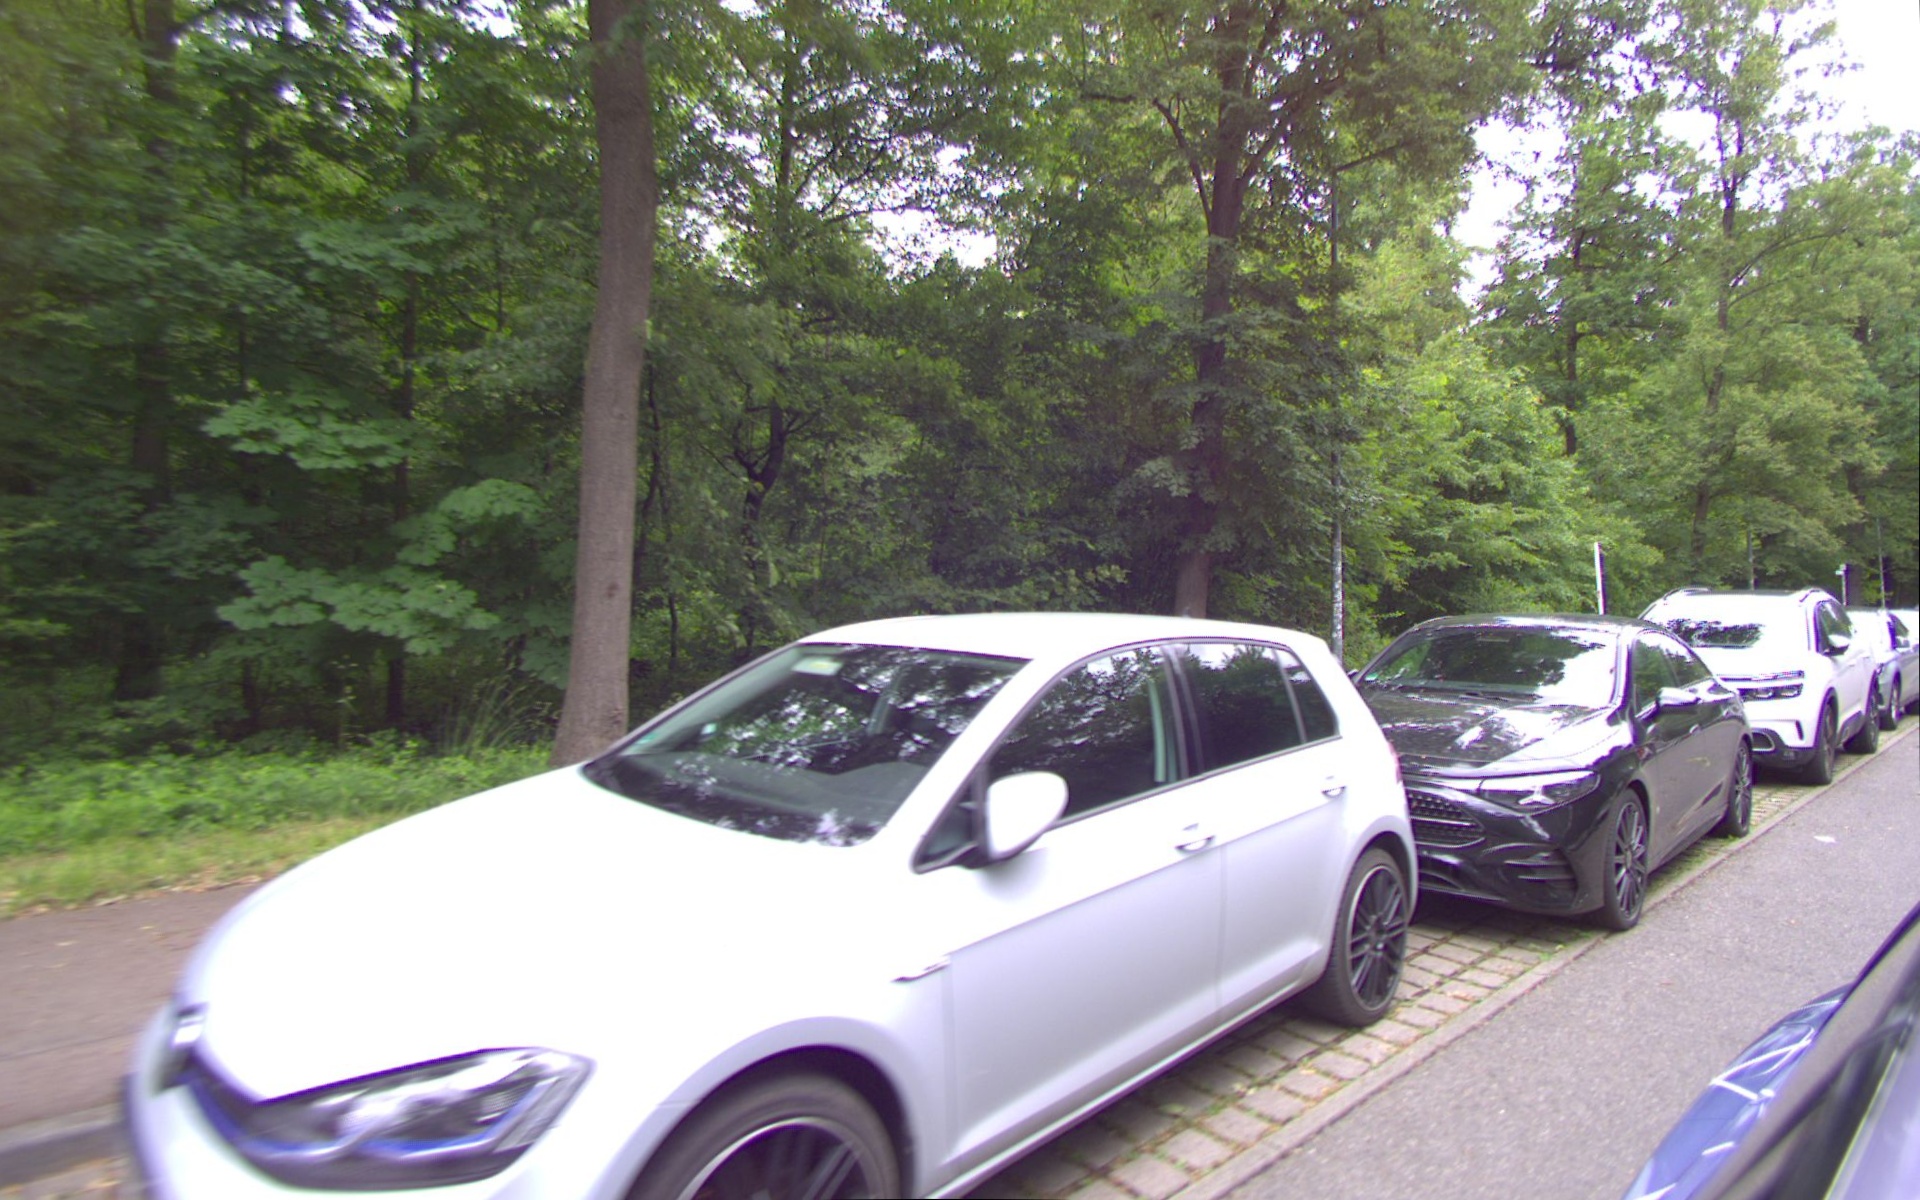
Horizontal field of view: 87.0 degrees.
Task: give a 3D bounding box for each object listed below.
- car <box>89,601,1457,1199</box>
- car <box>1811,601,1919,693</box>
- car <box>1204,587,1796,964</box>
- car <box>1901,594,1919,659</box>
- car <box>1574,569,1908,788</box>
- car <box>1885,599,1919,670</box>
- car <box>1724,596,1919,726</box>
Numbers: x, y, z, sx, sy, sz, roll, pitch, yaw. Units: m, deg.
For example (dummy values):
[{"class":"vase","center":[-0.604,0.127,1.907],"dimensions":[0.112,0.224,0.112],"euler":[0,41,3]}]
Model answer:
[{"class":"car","center":[-0.056,0.731,3.266],"dimensions":[4.086,1.443,1.737],"euler":[0,0,-45]},{"class":"car","center":[16.315,0.738,17.618],"dimensions":[4.352,1.425,1.738],"euler":[0,0,-42]},{"class":"car","center":[3.543,0.695,6.175],"dimensions":[4.525,1.493,1.739],"euler":[0,0,-42]},{"class":"car","center":[25.372,0.633,25.690],"dimensions":[4.348,1.580,1.841],"euler":[0,0,-42]},{"class":"car","center":[7.907,0.600,10.031],"dimensions":[4.984,1.664,1.739],"euler":[0,0,-42]},{"class":"car","center":[21.781,0.710,22.239],"dimensions":[4.664,1.453,1.738],"euler":[0,0,-42]},{"class":"car","center":[12.144,0.700,13.863],"dimensions":[4.686,1.498,1.739],"euler":[0,0,-41]}]
